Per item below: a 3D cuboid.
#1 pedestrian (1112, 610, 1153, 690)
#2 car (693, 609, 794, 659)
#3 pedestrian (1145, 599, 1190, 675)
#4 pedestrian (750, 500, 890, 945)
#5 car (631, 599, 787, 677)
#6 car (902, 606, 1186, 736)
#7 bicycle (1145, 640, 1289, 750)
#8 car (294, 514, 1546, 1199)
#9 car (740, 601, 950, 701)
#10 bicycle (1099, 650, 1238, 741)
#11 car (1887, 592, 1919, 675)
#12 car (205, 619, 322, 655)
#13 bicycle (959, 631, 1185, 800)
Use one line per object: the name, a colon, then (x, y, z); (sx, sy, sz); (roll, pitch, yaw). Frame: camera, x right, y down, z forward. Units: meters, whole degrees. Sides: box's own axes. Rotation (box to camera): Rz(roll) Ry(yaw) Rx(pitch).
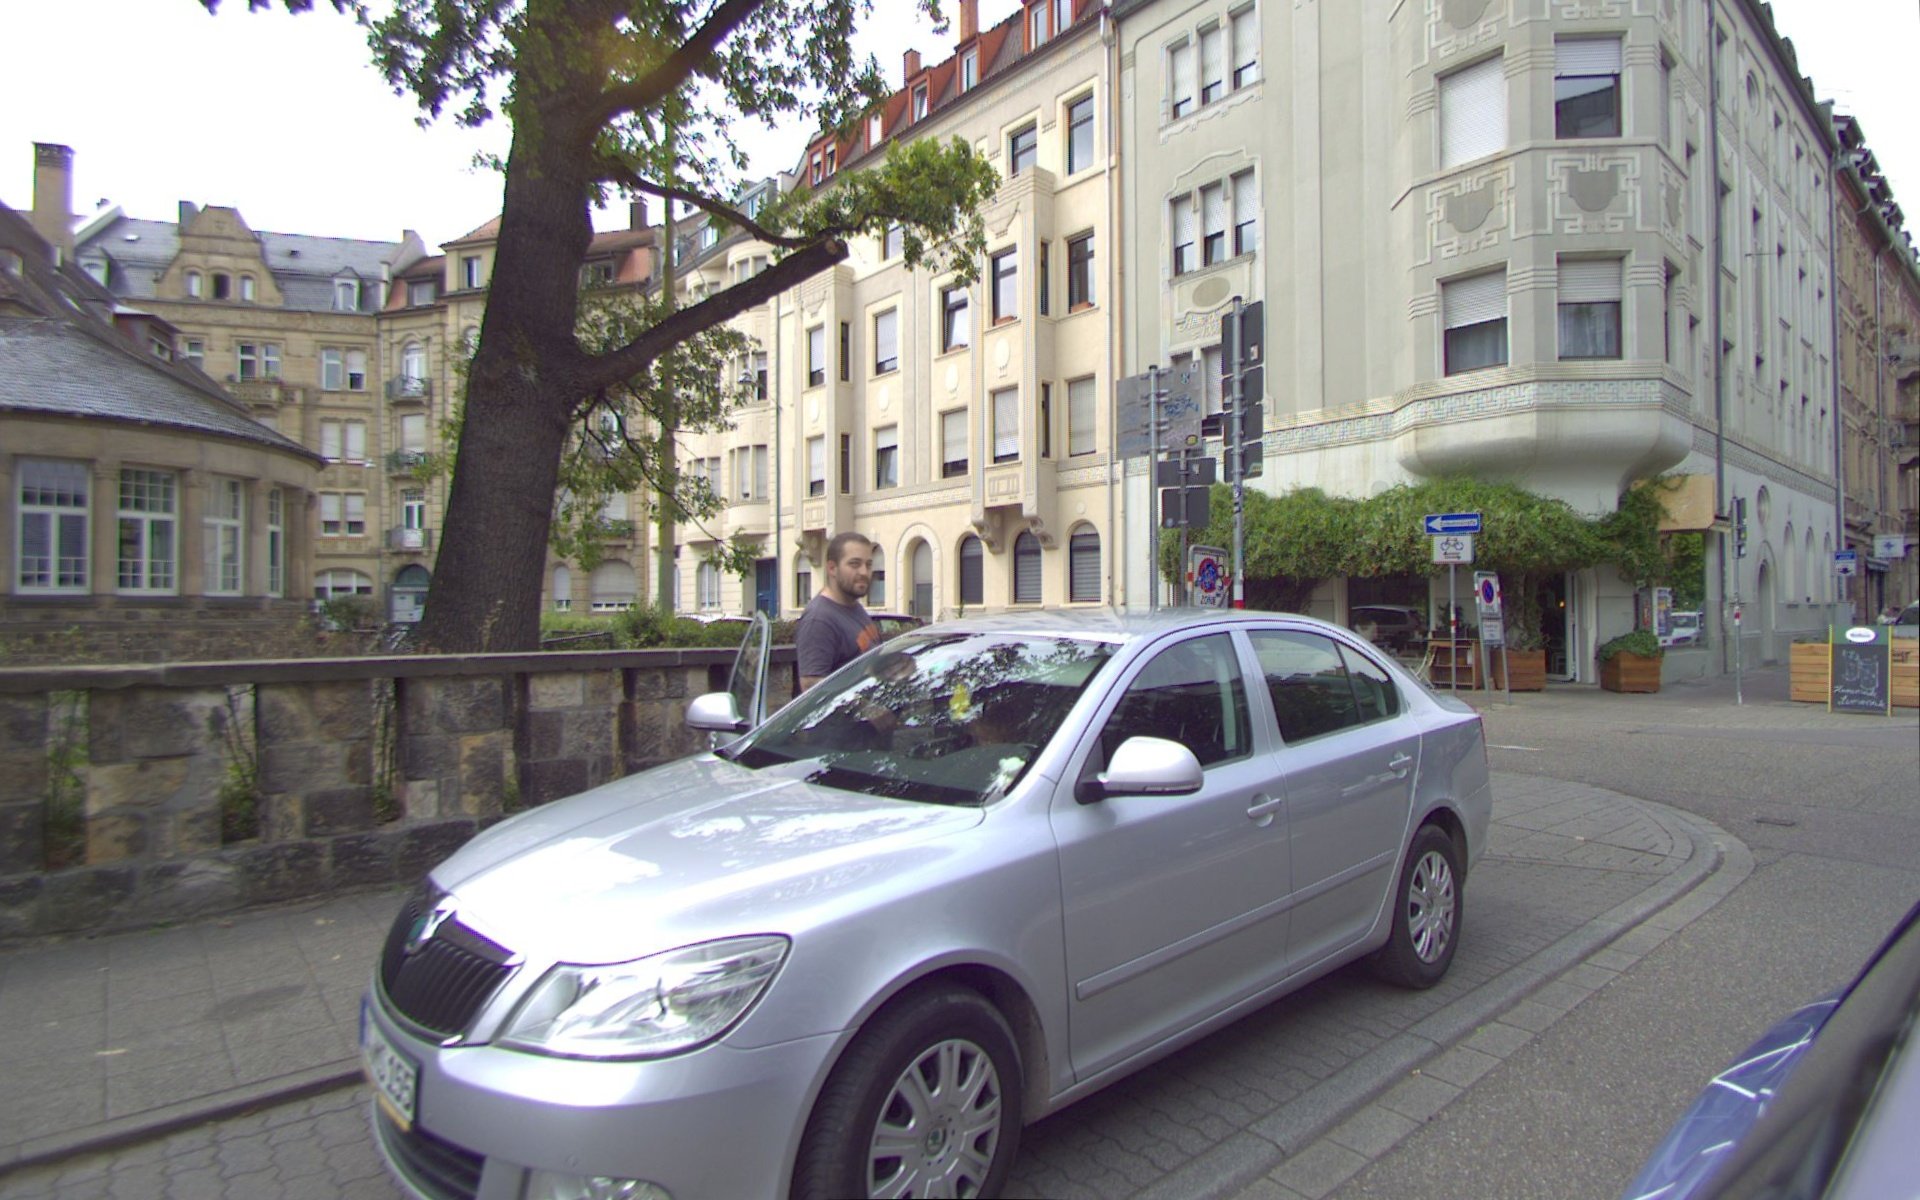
pedestrian: (3.311, 0.949, 19.445); (0.550, 1.488, 0.548); (0, -1, -39)
car: (-7.133, 1.071, 33.070); (1.607, 1.470, 4.033); (-2, 1, -38)
pedestrian: (4.183, 0.739, 20.410); (0.624, 1.477, 0.548); (-4, 1, -40)
pedestrian: (-0.600, 0.483, 4.311); (0.403, 1.757, 0.468); (0, -1, -41)
car: (-5.631, 0.811, 22.427); (1.813, 1.555, 4.033); (4, -3, -38)
car: (0.982, 0.849, 13.907); (1.871, 1.488, 4.039); (0, -1, -31)
bicycle: (2.740, 0.963, 10.677); (1.787, 1.064, 0.523); (2, -3, -40)
car: (0.348, 0.625, 3.599); (4.342, 1.487, 1.757); (0, -1, -42)
car: (-2.144, 0.845, 17.911); (1.813, 1.555, 4.033); (4, -3, -38)
bicycle: (2.369, 1.041, 11.367); (1.787, 0.928, 0.523); (2, -3, -40)
car: (21.329, 0.681, 21.379); (3.931, 1.693, 1.854); (1, -2, -37)
car: (-31.801, 1.679, 46.300); (4.067, 1.396, 1.639); (-2, -1, -10)
bicycle: (0.904, 0.816, 7.756); (1.943, 1.119, 0.523); (1, -2, -40)
